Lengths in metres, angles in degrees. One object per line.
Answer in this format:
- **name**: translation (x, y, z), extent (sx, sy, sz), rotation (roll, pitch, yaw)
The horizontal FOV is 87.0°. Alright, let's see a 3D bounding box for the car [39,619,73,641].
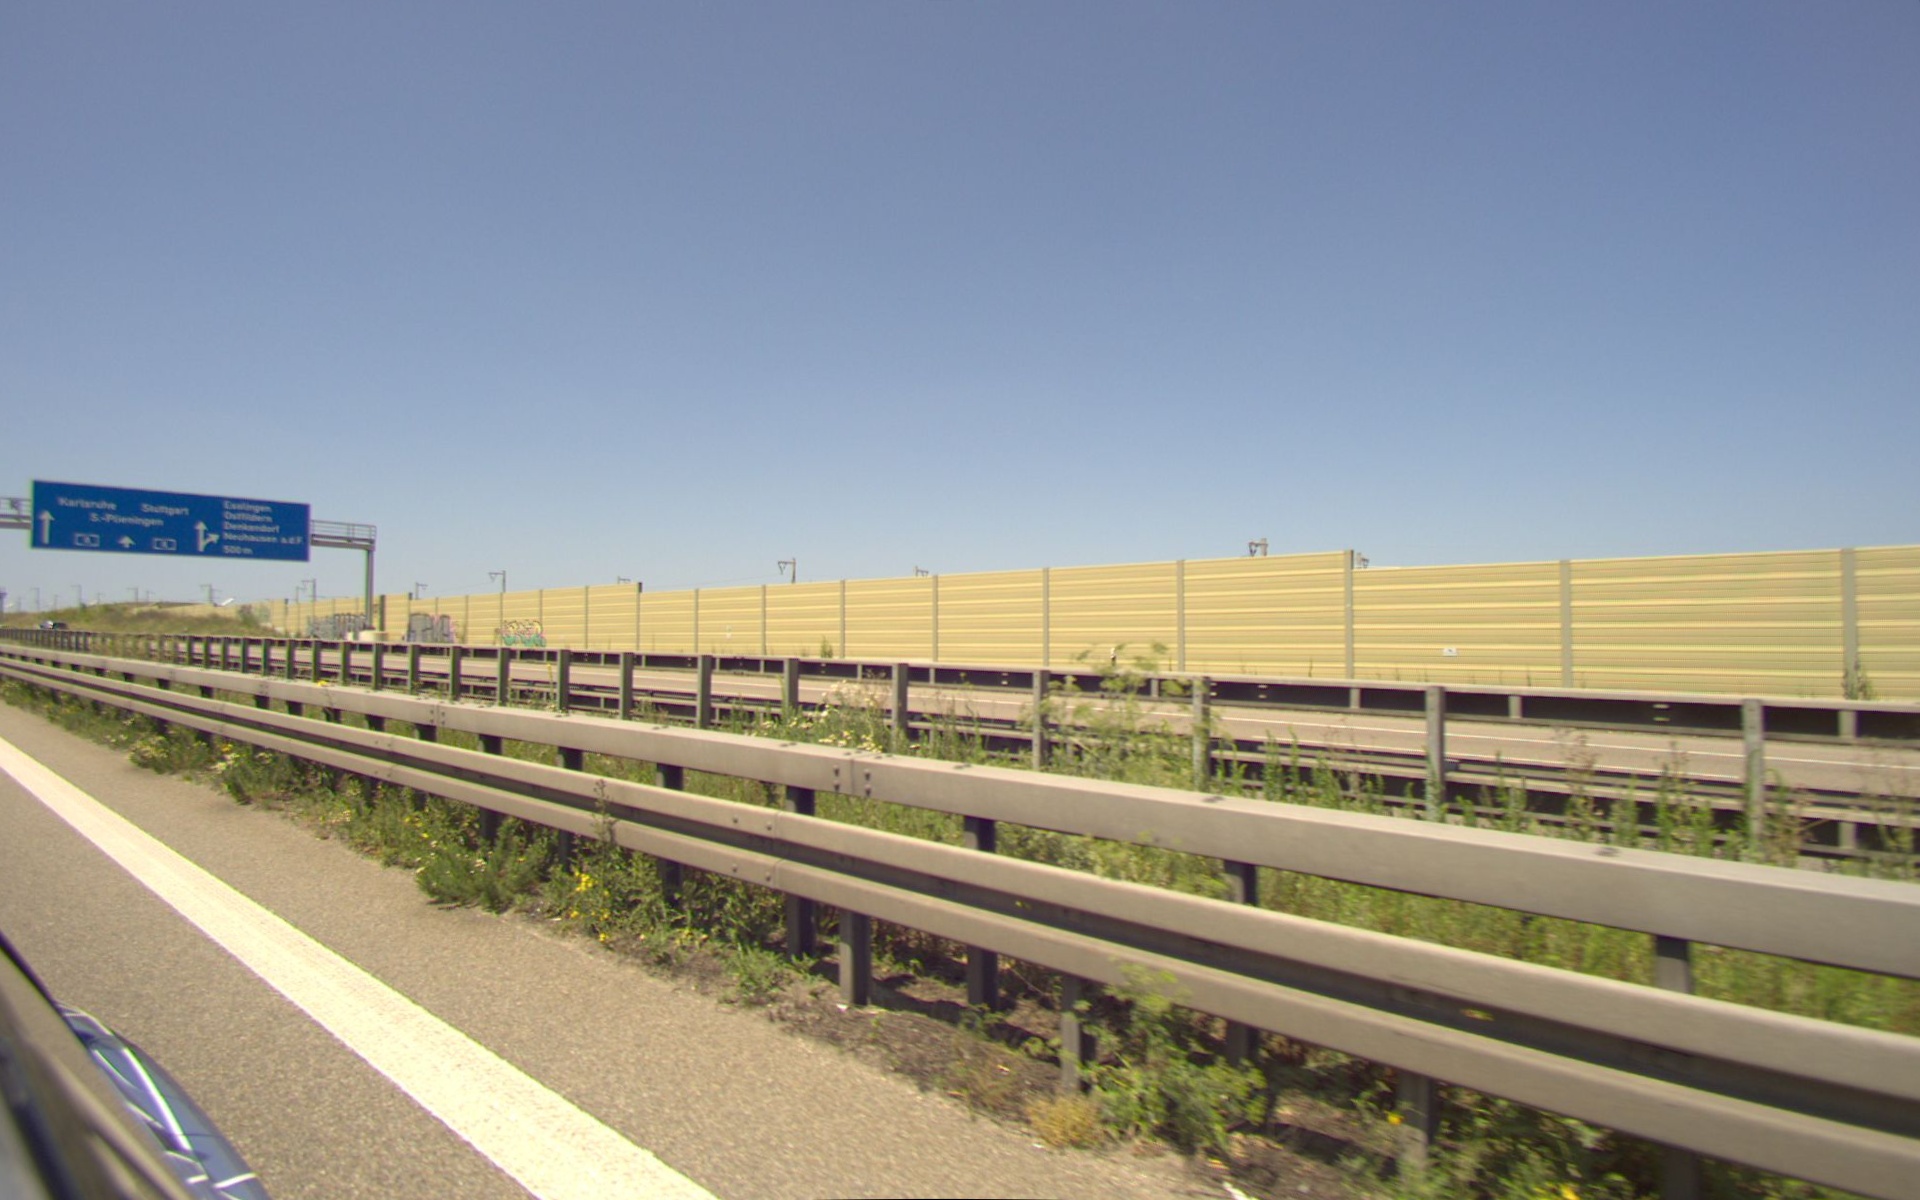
- **car**: translation (-87.613, 2.889, 98.069), extent (3.997, 2.029, 1.973), rotation (-1, -2, 41)
